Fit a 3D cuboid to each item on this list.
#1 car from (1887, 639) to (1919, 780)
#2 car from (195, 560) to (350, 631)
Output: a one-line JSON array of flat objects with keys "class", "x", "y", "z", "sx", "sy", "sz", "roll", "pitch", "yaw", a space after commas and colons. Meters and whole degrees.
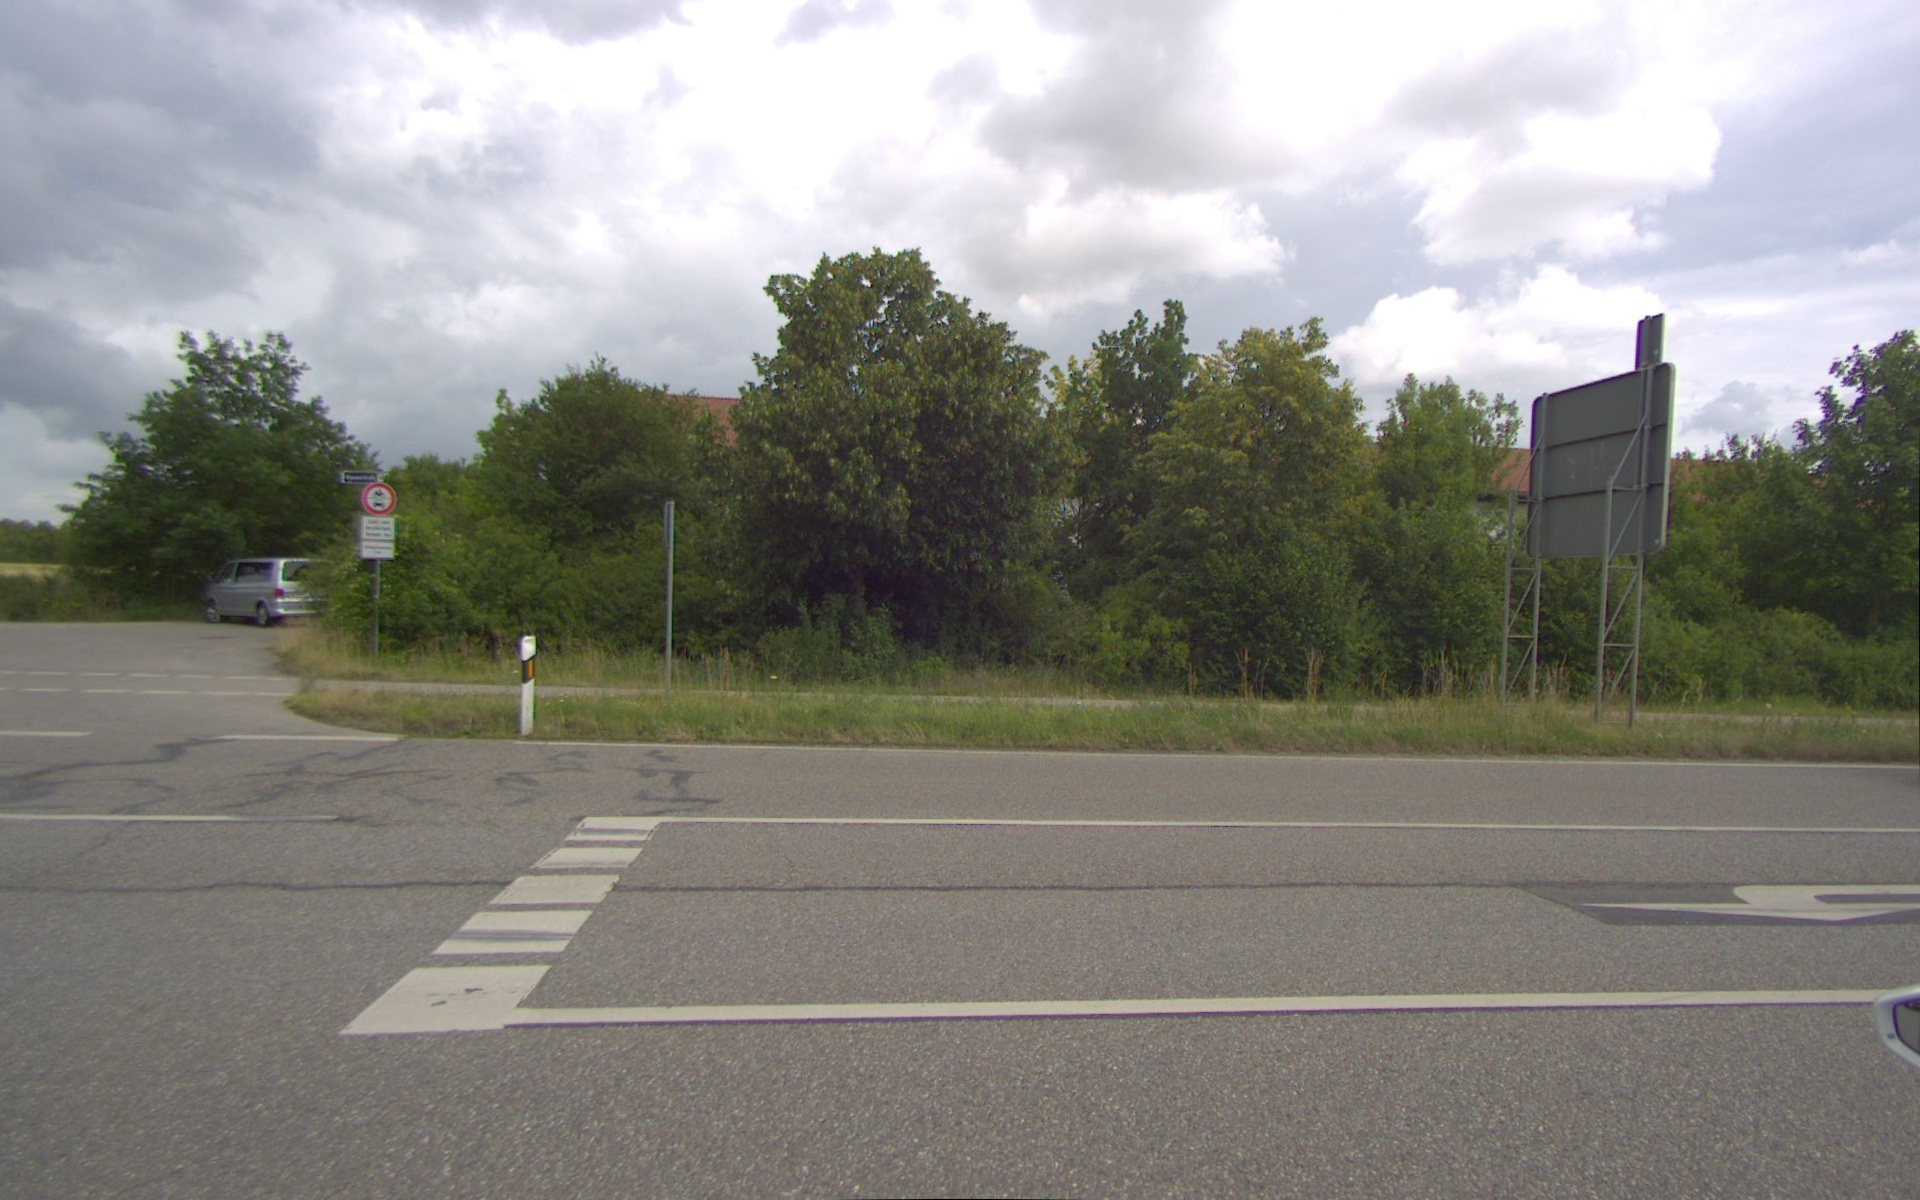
[{"class": "car", "x": 11.957, "y": 1.201, "z": 10.176, "sx": 3.863, "sy": 1.450, "sz": 1.733, "roll": 2, "pitch": 0, "yaw": -9}, {"class": "car", "x": -20.523, "y": -0.194, "z": 29.925, "sx": 5.014, "sy": 1.911, "sz": 2.107, "roll": 2, "pitch": 2, "yaw": 34}]
